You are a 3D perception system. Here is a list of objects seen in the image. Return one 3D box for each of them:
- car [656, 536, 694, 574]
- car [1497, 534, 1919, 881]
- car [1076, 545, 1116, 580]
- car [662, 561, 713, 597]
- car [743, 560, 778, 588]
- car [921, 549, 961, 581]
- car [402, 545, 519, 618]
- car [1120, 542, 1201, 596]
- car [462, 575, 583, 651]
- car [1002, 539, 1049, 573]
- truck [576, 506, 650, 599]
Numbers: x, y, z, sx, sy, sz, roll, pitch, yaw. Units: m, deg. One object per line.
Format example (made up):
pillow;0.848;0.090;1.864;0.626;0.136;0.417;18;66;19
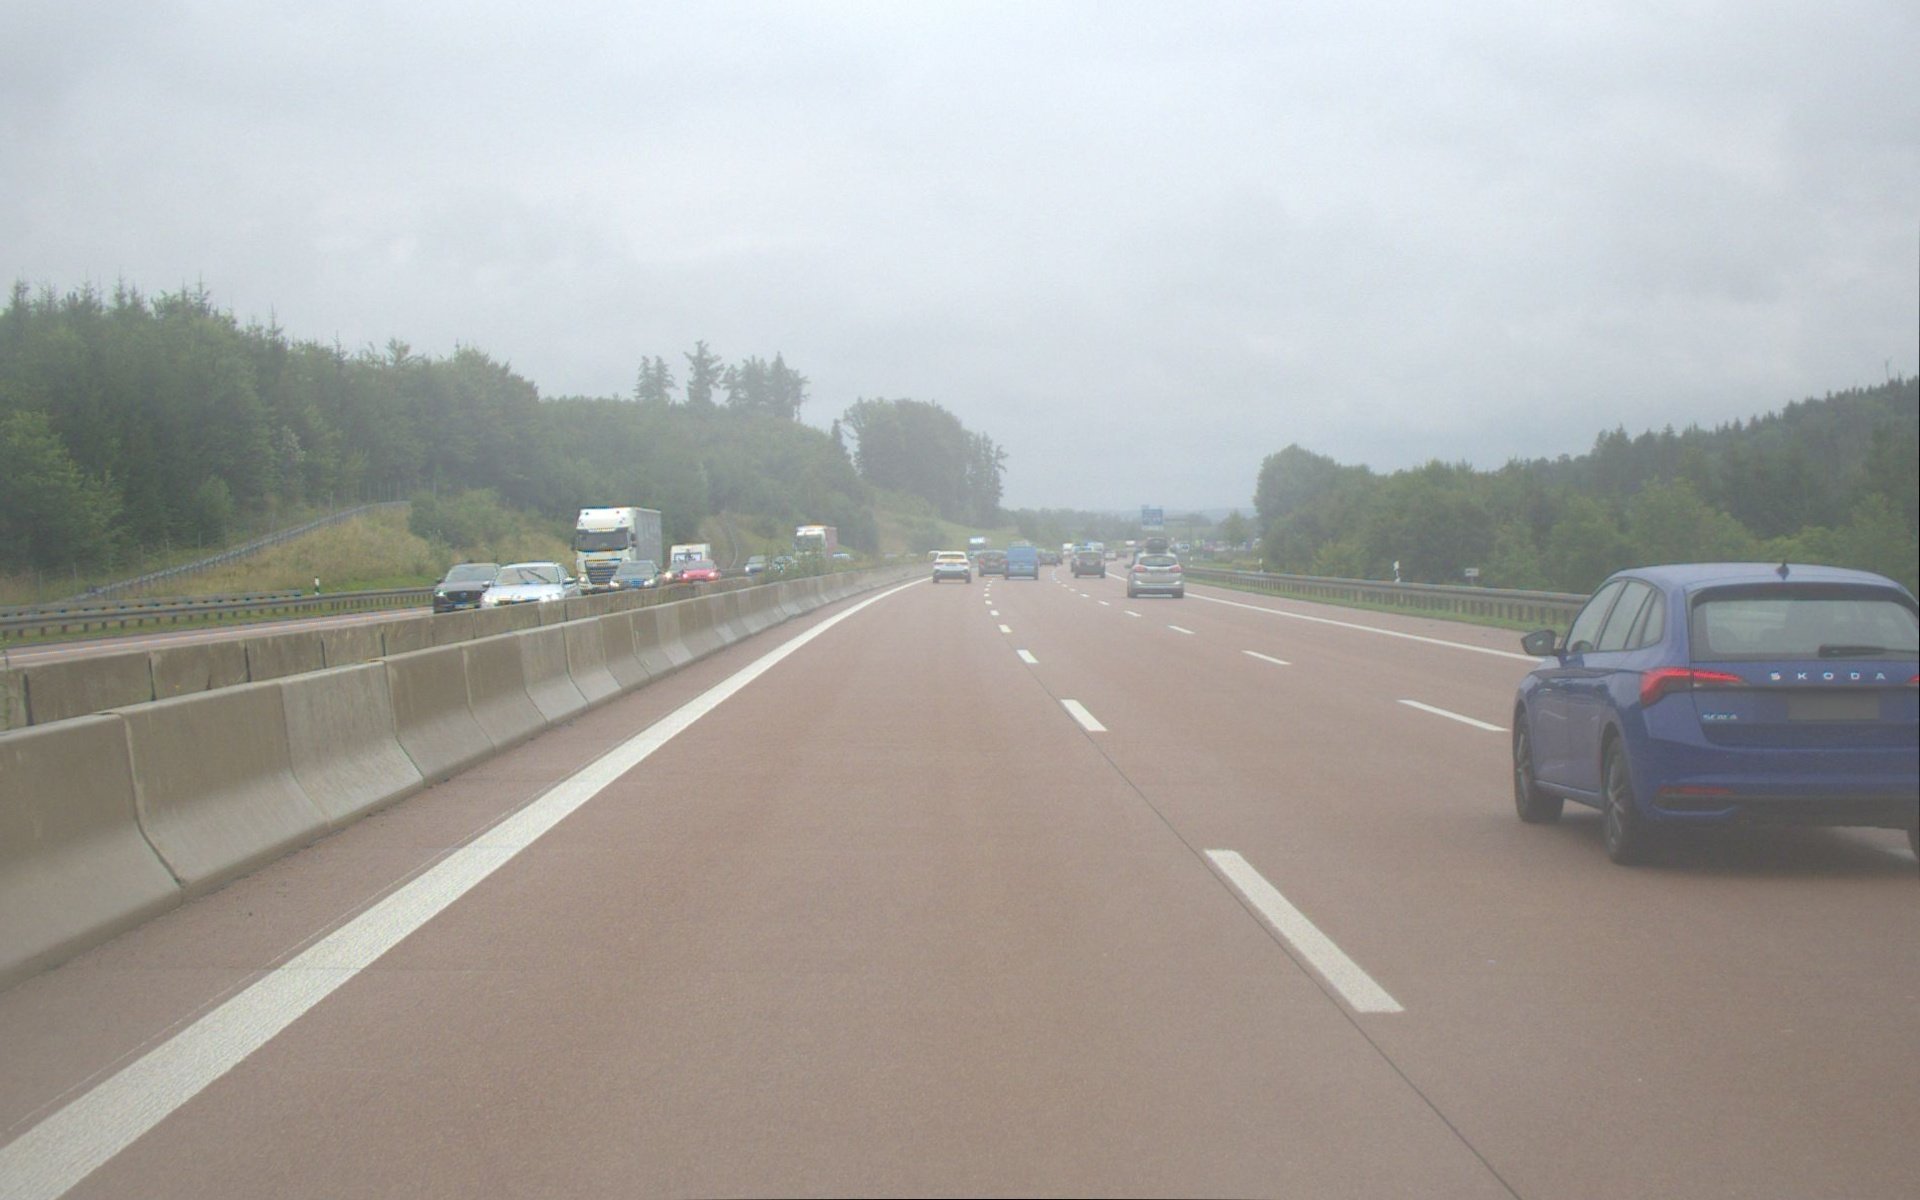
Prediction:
car;-16.389;-2.594;197.886;1.758;2.145;4.429;-2;1;-1
car;3.990;0.503;17.744;1.771;1.559;4.146;1;0;0
car;8.057;-2.220;204.018;1.993;2.007;4.000;1;0;-2
car;-12.746;-0.977;160.848;1.993;1.540;4.280;-2;0;0
car;-11.676;-1.559;201.548;1.692;1.552;5.677;-2;1;0
car;-0.944;-1.701;167.267;1.874;1.439;4.877;1;0;-1
car;-13.262;-0.463;91.654;2.280;1.855;5.728;1;0;0
car;6.830;-1.048;117.467;2.322;1.744;4.877;1;0;-2
car;-9.383;0.276;74.093;1.993;1.555;4.946;1;0;0
car;3.580;-2.410;189.832;2.322;1.744;4.877;1;0;-2
truck;-16.265;-2.191;161.550;2.768;4.161;6.001;-2;0;0
